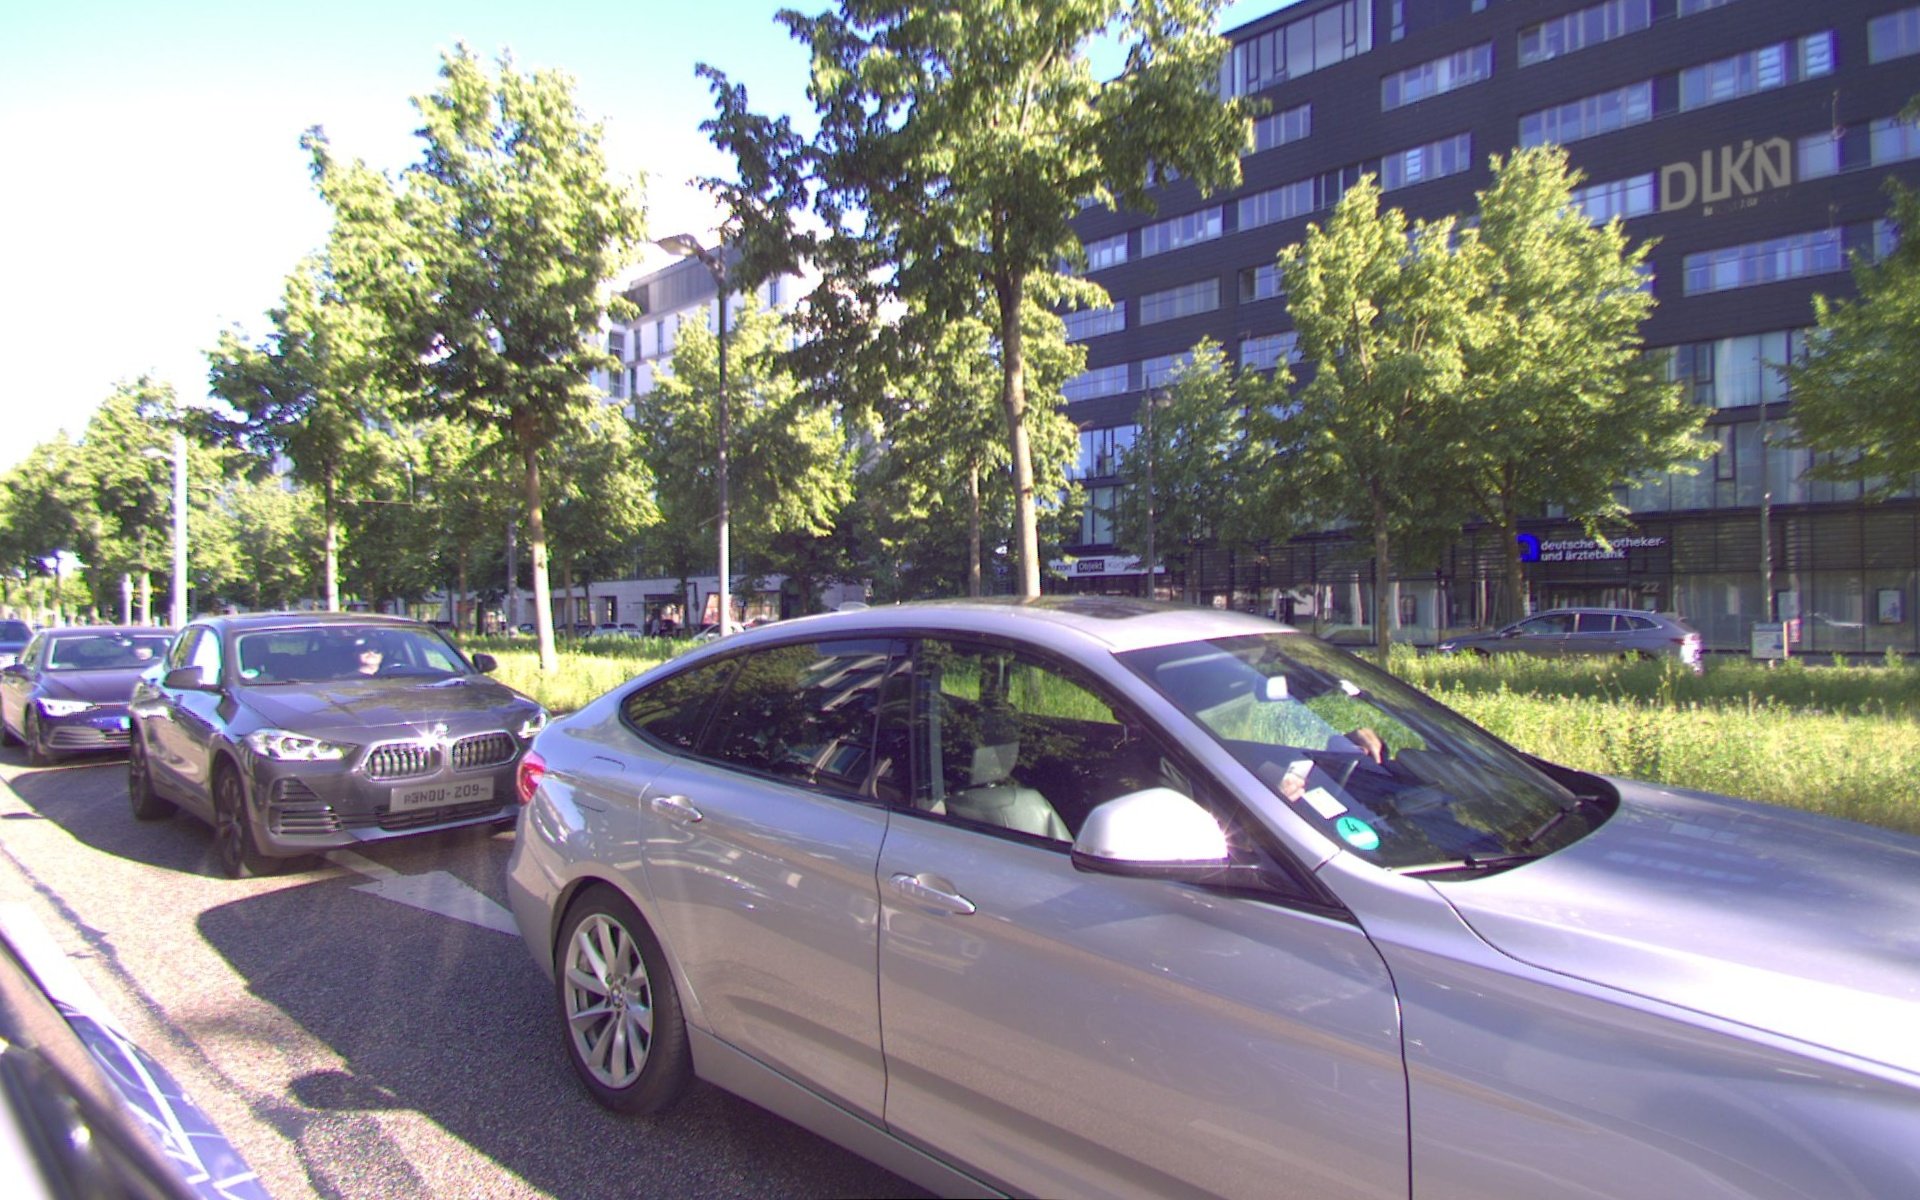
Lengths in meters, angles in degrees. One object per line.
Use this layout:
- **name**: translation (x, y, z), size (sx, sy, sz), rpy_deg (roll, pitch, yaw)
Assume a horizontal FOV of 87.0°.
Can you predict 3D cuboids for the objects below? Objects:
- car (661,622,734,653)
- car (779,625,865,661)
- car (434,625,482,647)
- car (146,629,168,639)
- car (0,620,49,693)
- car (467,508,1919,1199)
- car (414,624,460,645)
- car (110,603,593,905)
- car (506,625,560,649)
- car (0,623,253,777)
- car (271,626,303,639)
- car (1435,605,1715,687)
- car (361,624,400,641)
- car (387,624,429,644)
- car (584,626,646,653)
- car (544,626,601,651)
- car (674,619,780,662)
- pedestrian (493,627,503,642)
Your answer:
- **car**: translation (-14.444, 2.063, 55.599), size (4.182, 1.609, 1.926), rpy_deg (-2, -1, 41)
- **car**: translation (-6.767, 2.073, 49.387), size (4.182, 1.609, 1.926), rpy_deg (-2, -1, 41)
- **car**: translation (-38.669, 2.733, 77.974), size (4.182, 1.609, 1.859), rpy_deg (-2, -1, 41)
- **car**: translation (-114.624, 4.812, 144.497), size (4.001, 1.406, 1.971), rpy_deg (-2, -2, 44)
- **car**: translation (-22.907, 1.295, 23.764), size (4.344, 1.598, 1.854), rpy_deg (-1, -1, 43)
- **car**: translation (0.660, 0.678, 2.591), size (4.558, 1.495, 1.800), rpy_deg (-1, -1, 40)
- **car**: translation (-42.131, 2.779, 81.480), size (4.182, 1.609, 1.859), rpy_deg (-2, -1, 41)
- **car**: translation (-4.419, 0.810, 7.093), size (3.999, 1.502, 1.836), rpy_deg (-1, -1, 42)
- **car**: translation (-29.728, 2.587, 70.467), size (4.182, 1.609, 1.859), rpy_deg (-2, -1, 41)
- **car**: translation (-9.847, 0.997, 11.713), size (4.344, 1.434, 1.854), rpy_deg (-1, -1, 43)
- **car**: translation (-72.531, 3.496, 109.063), size (3.998, 1.406, 1.972), rpy_deg (-2, -2, 41)
- **car**: translation (12.054, 0.867, 20.034), size (4.559, 1.458, 1.783), rpy_deg (-1, -1, 36)
- **car**: translation (-50.838, 2.863, 88.713), size (4.001, 1.406, 1.971), rpy_deg (-2, -2, 44)
- **car**: translation (-46.586, 2.849, 85.376), size (4.182, 1.609, 1.859), rpy_deg (-2, -1, 41)
- **car**: translation (-21.545, 2.460, 63.116), size (4.182, 1.609, 1.859), rpy_deg (-2, -1, 41)
- **car**: translation (-25.699, 2.522, 67.054), size (4.182, 1.609, 1.859), rpy_deg (-2, -1, 41)
- **car**: translation (-9.435, 1.595, 40.807), size (4.567, 1.494, 1.780), rpy_deg (-1, 2, 42)
- **pedestrian**: translation (-40.752, 3.023, 89.228), size (0.660, 1.349, 0.597), rpy_deg (-2, -1, 41)
